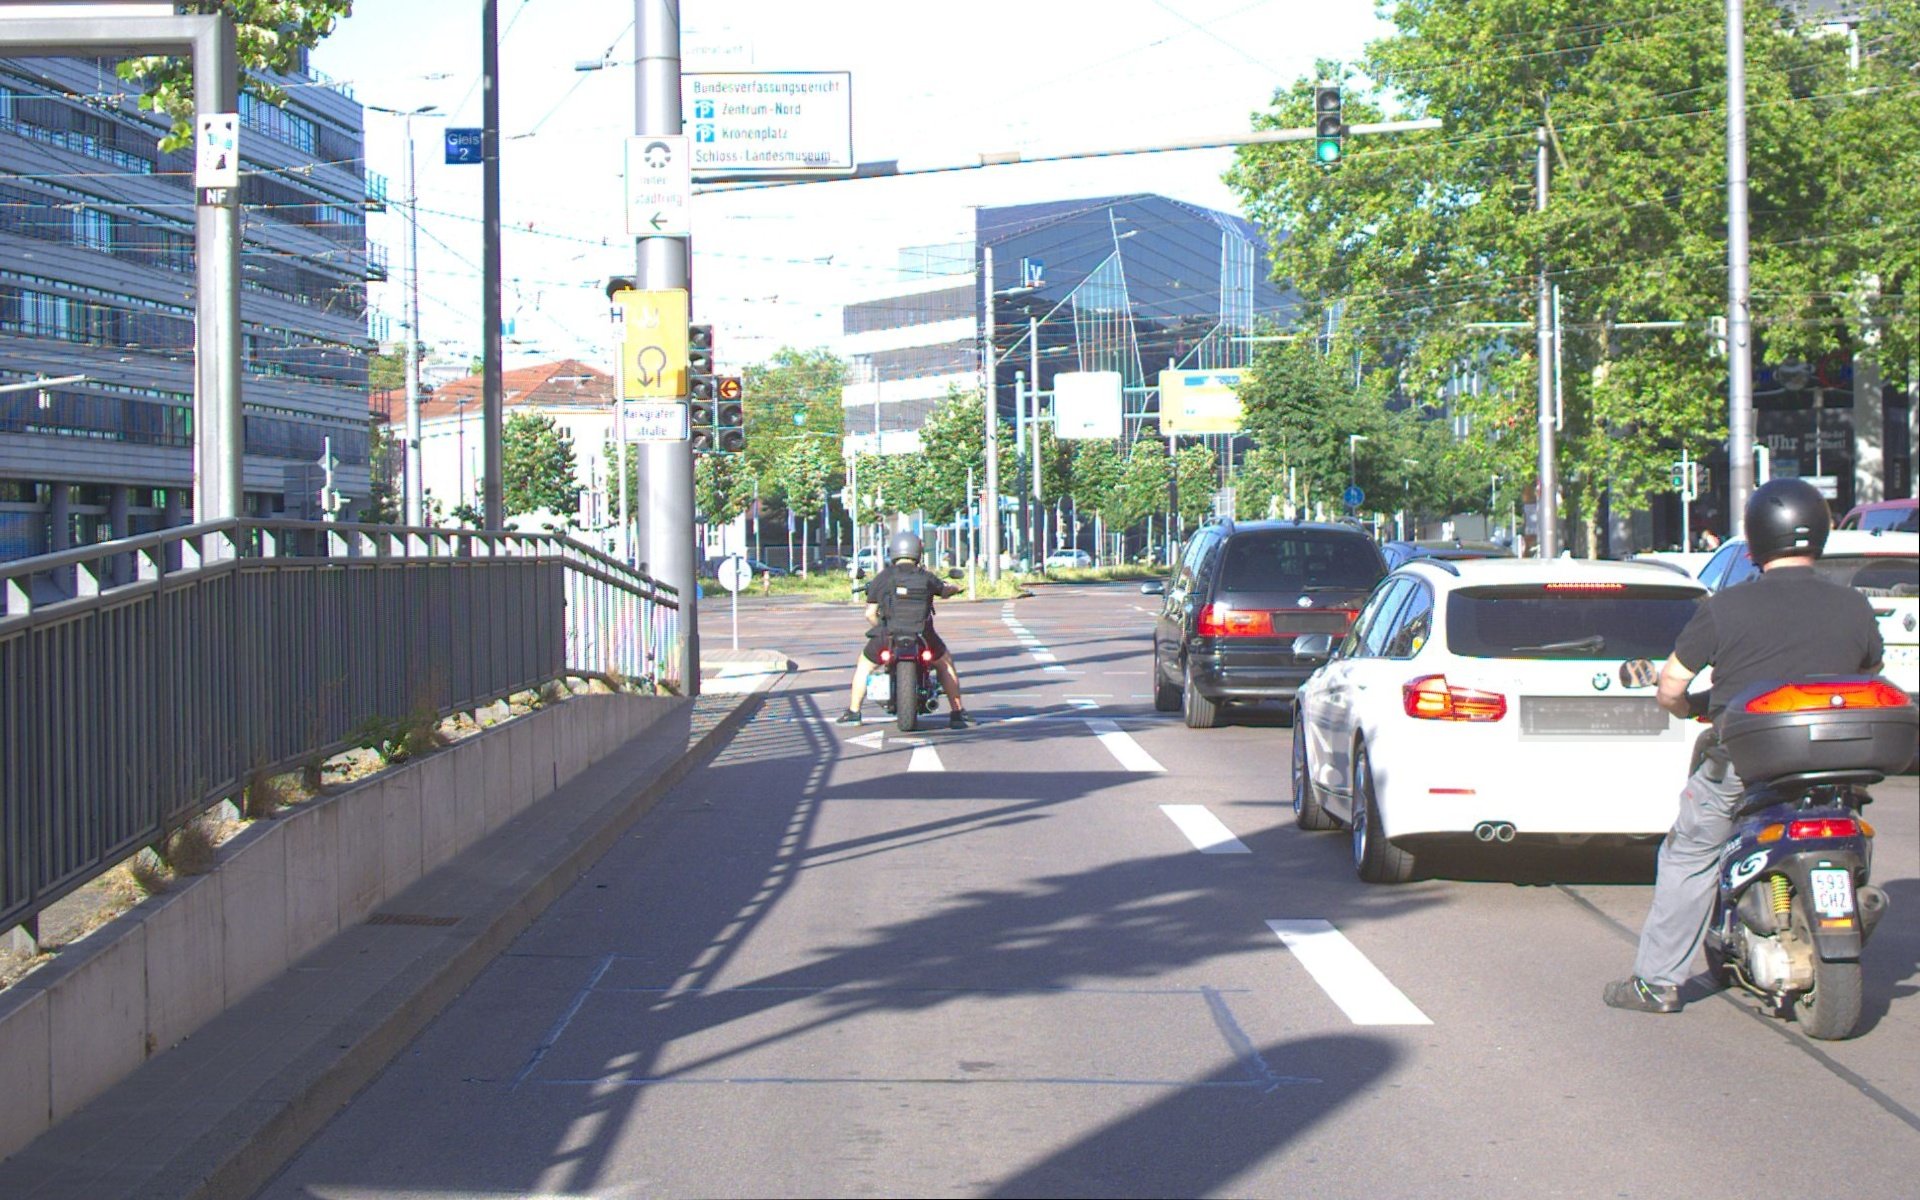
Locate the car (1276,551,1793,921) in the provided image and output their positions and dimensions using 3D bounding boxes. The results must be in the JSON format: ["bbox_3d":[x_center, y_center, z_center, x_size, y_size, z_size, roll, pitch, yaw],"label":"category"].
[{"bbox_3d":[2.572,0.529,16.373,1.692,1.491,4.409,1,1,0],"label":"car"}]

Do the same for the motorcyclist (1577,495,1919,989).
[{"bbox_3d":[2.517,0.416,10.944,0.837,1.470,1.236,-1,1,-1],"label":"motorcyclist"}]

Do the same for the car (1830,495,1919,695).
[{"bbox_3d":[10.344,-0.090,35.270,1.860,1.954,4.000,-1,1,1],"label":"car"}]

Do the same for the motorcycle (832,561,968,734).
[{"bbox_3d":[-0.461,0.349,27.874,1.019,1.307,2.914,1,1,0],"label":"motorcycle"}]

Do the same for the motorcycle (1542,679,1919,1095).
[{"bbox_3d":[2.533,0.840,10.986,0.837,1.058,2.553,-1,1,-2],"label":"motorcycle"}]

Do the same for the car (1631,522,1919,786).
[{"bbox_3d":[5.950,0.293,23.459,1.851,1.634,4.379,0,1,-1],"label":"car"}]

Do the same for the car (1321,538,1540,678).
[{"bbox_3d":[5.275,0.045,39.054,1.851,1.492,4.379,0,1,-1],"label":"car"}]

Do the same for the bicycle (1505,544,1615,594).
[{"bbox_3d":[15.251,-0.776,87.398,2.693,1.240,0.527,0,1,23],"label":"bicycle"}]

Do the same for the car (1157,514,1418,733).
[{"bbox_3d":[2.667,0.151,28.788,1.798,1.699,4.063,0,1,0],"label":"car"}]

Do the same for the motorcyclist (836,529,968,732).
[{"bbox_3d":[-0.465,0.233,27.974,1.019,1.598,1.148,1,1,0],"label":"motorcyclist"}]
